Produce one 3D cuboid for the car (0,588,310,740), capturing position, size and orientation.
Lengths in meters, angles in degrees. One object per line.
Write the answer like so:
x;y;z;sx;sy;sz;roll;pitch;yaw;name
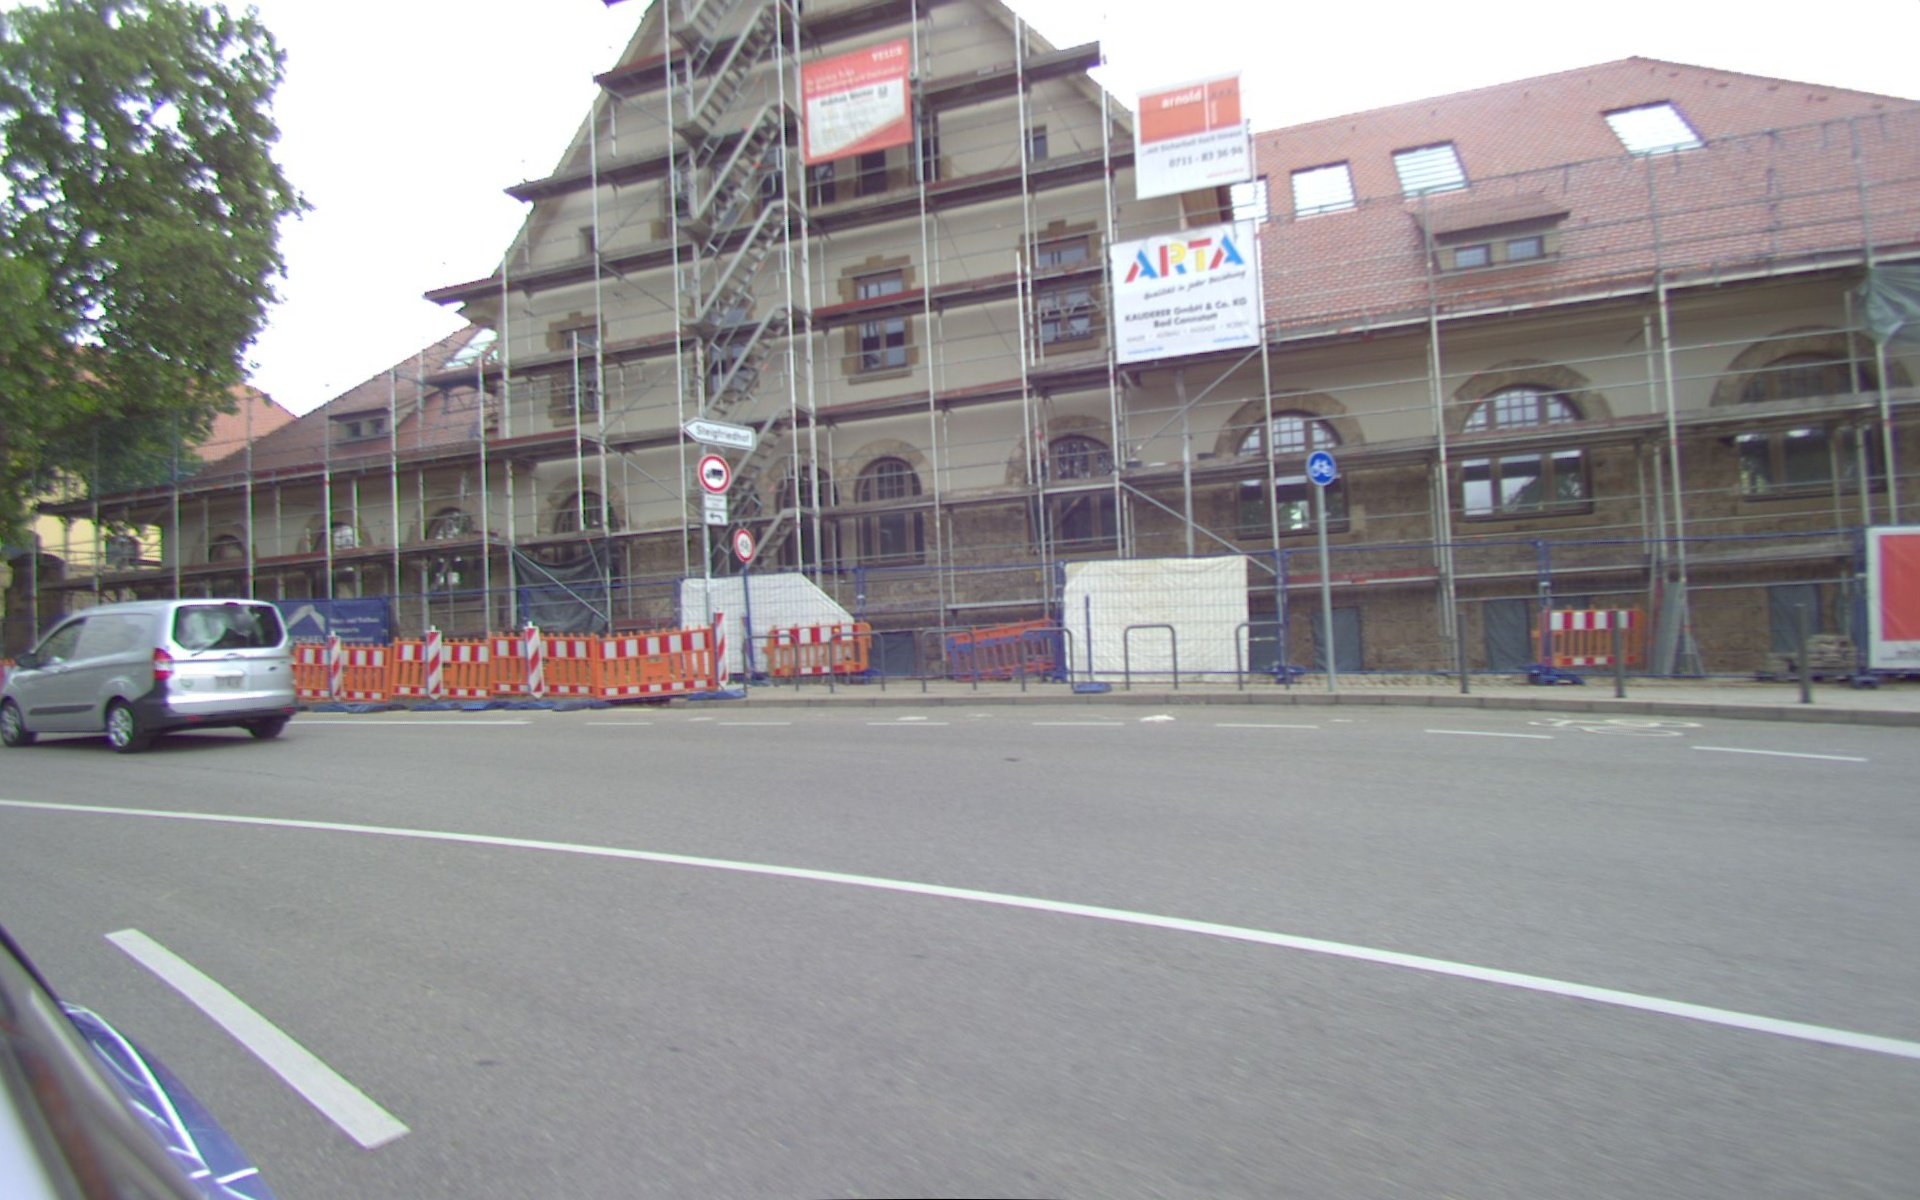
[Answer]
-10.144;0.721;12.461;4.059;1.626;1.684;-1;0;25;car
